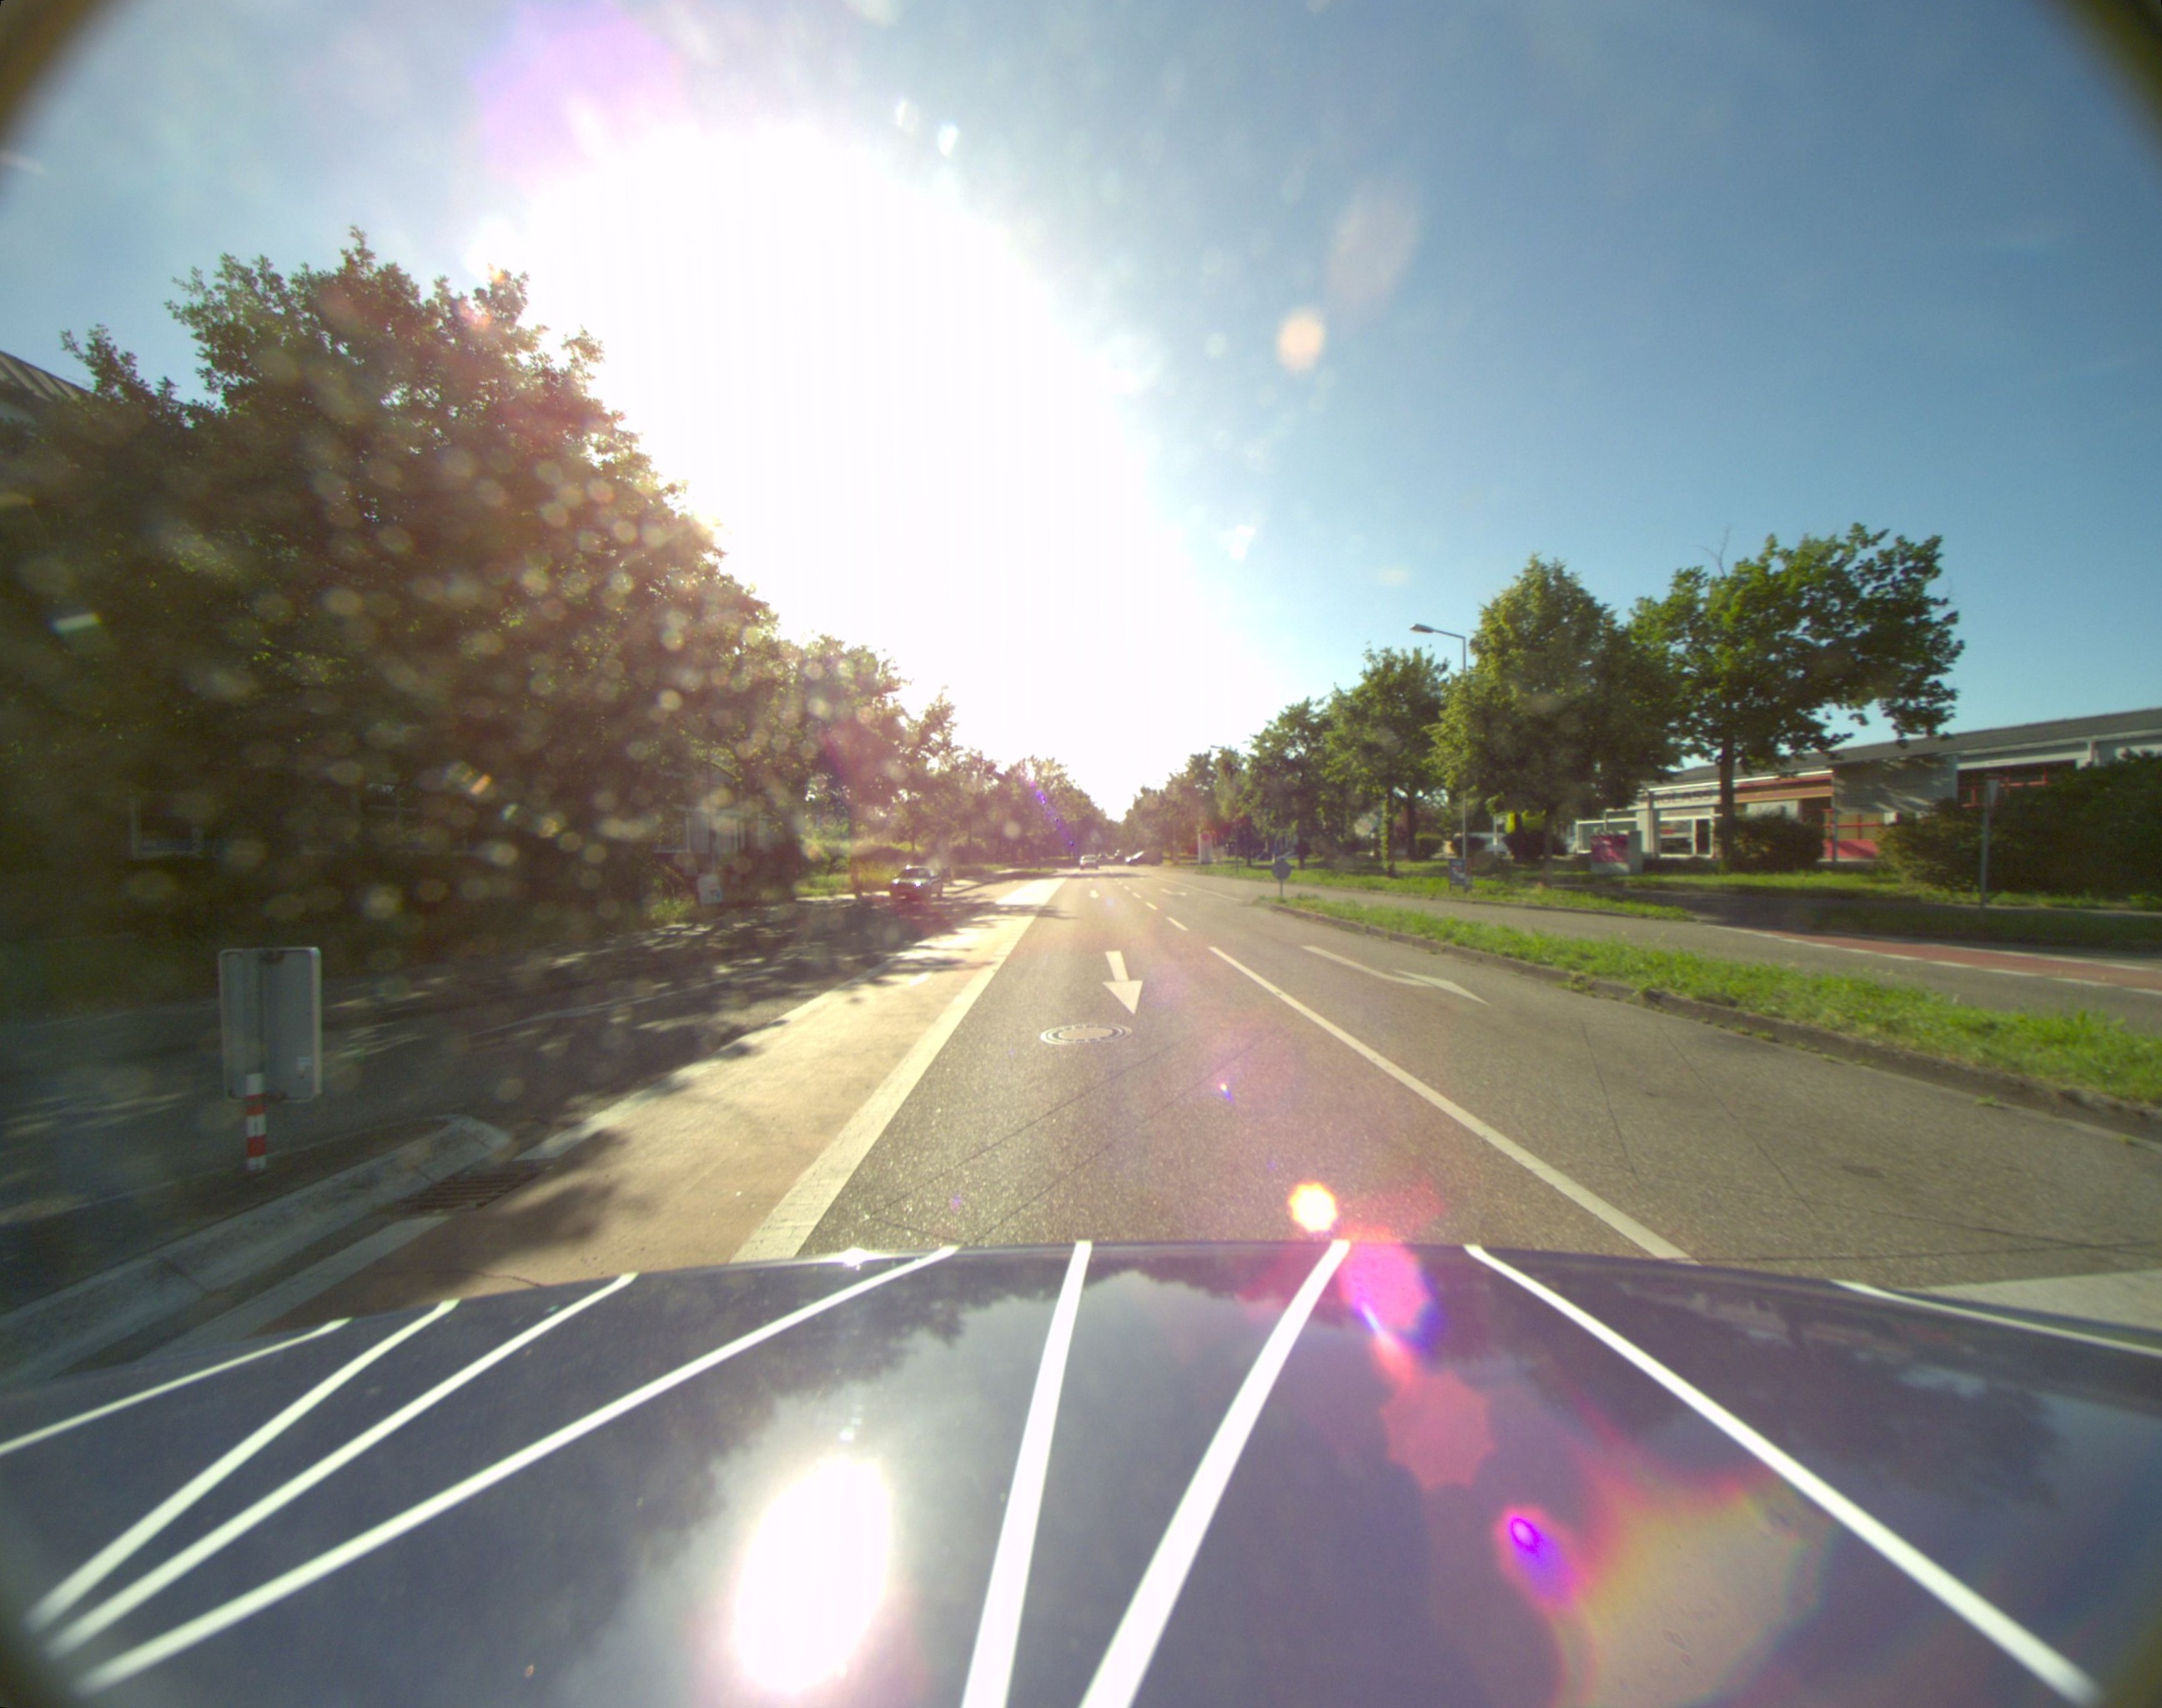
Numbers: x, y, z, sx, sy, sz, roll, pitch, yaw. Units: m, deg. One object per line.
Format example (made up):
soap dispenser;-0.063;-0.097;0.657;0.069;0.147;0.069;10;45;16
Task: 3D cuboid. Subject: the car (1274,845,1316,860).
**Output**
car;25.361;-0.145;90.306;4.489;1.696;2.001;-1;1;6

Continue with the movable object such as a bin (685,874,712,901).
movable object such as a bin;-15.822;1.393;31.413;0.687;1.036;0.695;-3;1;1

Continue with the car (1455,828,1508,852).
car;39.561;-1.362;75.118;4.212;2.204;1.777;-1;1;-2

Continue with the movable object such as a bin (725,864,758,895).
movable object such as a bin;-15.244;1.129;34.118;1.089;1.314;0.796;-2;1;1

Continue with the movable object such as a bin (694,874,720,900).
movable object such as a bin;-15.802;1.374;32.133;0.687;1.036;0.695;-2;1;1

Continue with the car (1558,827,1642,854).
car;34.627;-0.889;50.751;4.238;1.578;1.997;-3;0;-1

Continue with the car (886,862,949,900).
car;-7.089;1.149;33.345;1.776;1.477;4.215;0;1;1

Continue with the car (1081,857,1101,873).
car;0.991;1.045;75.257;1.777;1.477;3.779;0;1;-3

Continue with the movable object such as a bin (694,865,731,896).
movable object such as a bin;-16.490;1.170;34.017;1.208;1.333;0.796;-2;1;1

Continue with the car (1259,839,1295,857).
car;24.345;-0.776;94.496;3.994;2.002;2.001;-3;1;9

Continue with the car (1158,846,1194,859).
car;11.410;-0.192;91.079;4.210;1.477;1.778;-2;1;6

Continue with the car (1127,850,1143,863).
car;6.456;0.302;91.188;1.776;1.477;4.215;0;1;3

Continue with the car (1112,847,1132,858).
car;6.739;-0.216;123.573;1.995;1.674;4.006;-2;1;23
